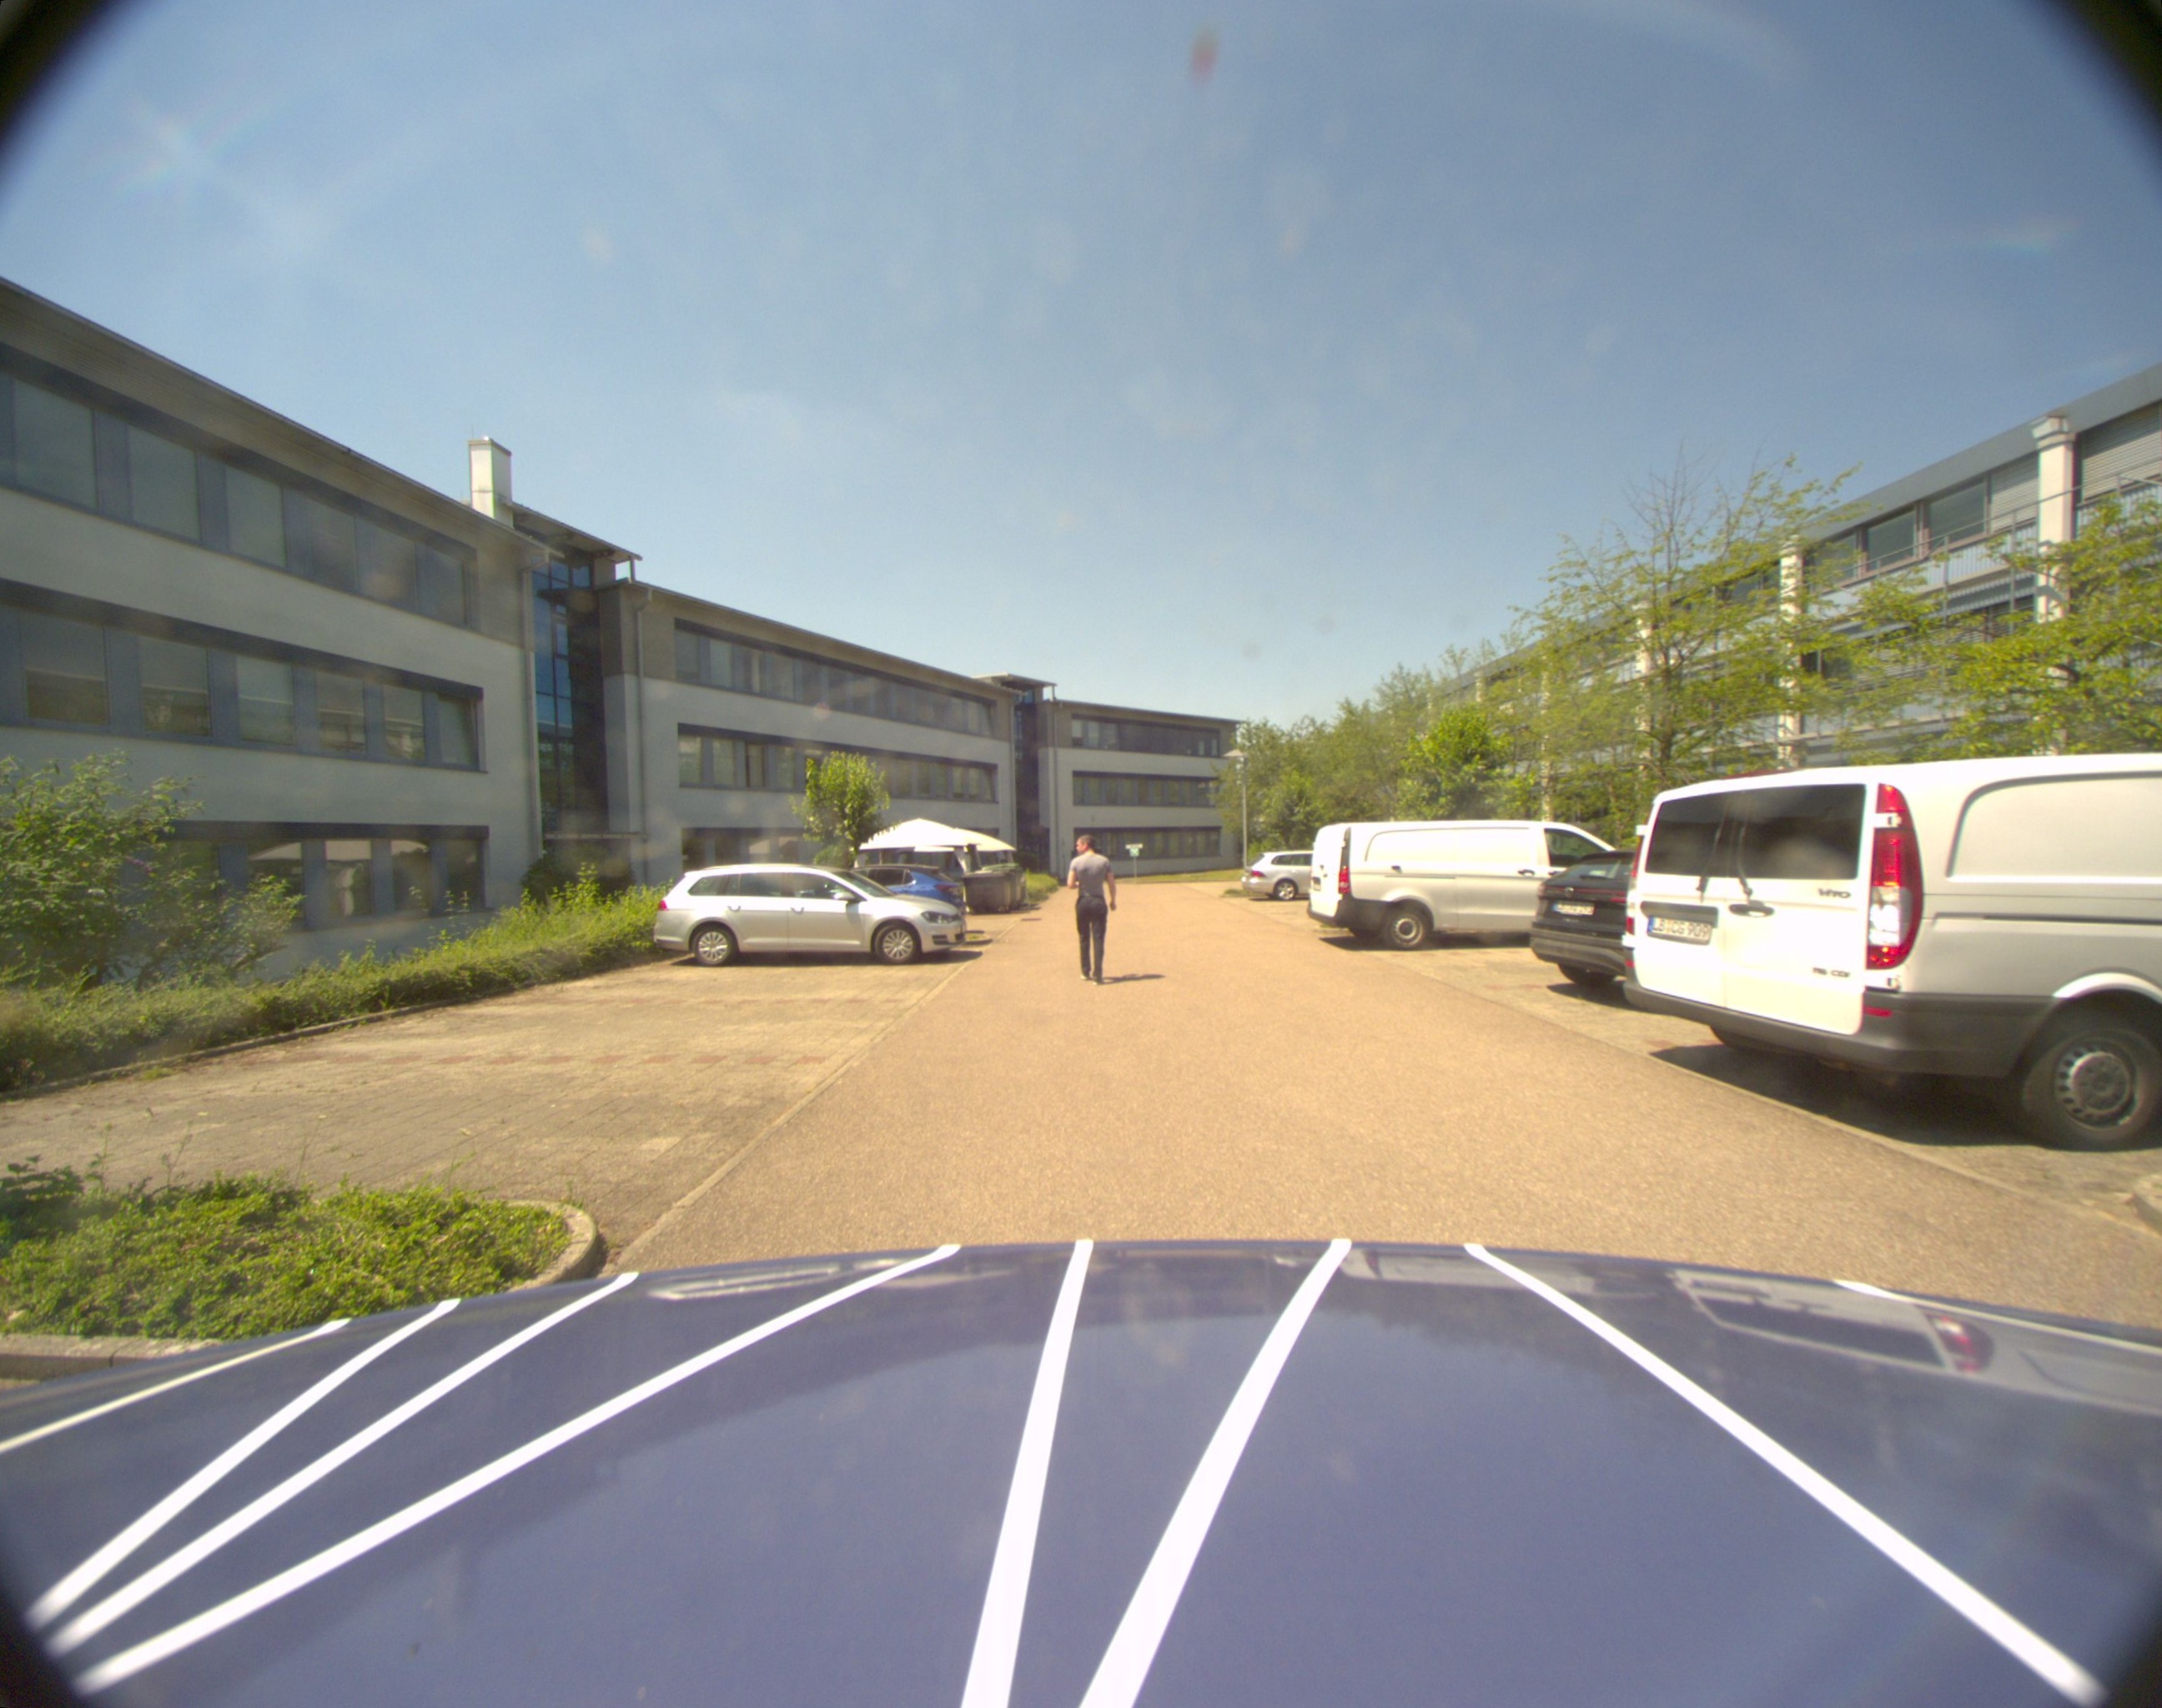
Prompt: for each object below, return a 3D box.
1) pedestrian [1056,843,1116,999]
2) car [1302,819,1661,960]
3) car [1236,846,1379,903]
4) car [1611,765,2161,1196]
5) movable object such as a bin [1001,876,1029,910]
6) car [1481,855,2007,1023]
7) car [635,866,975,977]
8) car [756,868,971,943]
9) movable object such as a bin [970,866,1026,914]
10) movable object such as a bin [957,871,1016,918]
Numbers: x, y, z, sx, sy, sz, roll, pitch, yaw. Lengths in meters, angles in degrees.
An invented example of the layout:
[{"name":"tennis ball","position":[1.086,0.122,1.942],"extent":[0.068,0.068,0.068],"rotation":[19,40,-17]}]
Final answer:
[{"name":"pedestrian","position":[0.075,0.757,8.959],"extent":[0.618,1.747,0.788],"rotation":[-1,1,4]},{"name":"car","position":[5.917,0.494,11.623],"extent":[4.517,1.871,1.829],"rotation":[-1,1,0]},{"name":"car","position":[6.680,0.582,22.669],"extent":[3.763,1.549,1.660],"rotation":[-1,1,0]},{"name":"car","position":[6.016,0.516,4.312],"extent":[4.732,1.895,1.829],"rotation":[-1,1,0]},{"name":"movable object such as a bin","position":[-1.956,1.157,22.573],"extent":[0.690,0.944,0.722],"rotation":[-1,1,6]},{"name":"car","position":[6.321,0.759,7.543],"extent":[3.849,1.385,1.576],"rotation":[-1,1,0]},{"name":"car","position":[-4.016,0.969,11.643],"extent":[4.517,1.488,1.829],"rotation":[0,1,0]},{"name":"car","position":[-4.241,0.985,15.248],"extent":[3.824,1.383,1.651],"rotation":[0,1,0]},{"name":"movable object such as a bin","position":[-2.346,1.007,21.628],"extent":[1.363,1.288,1.043],"rotation":[-1,1,6]},{"name":"movable object such as a bin","position":[-2.543,1.076,20.578],"extent":[1.363,1.182,0.997],"rotation":[-1,1,6]}]
